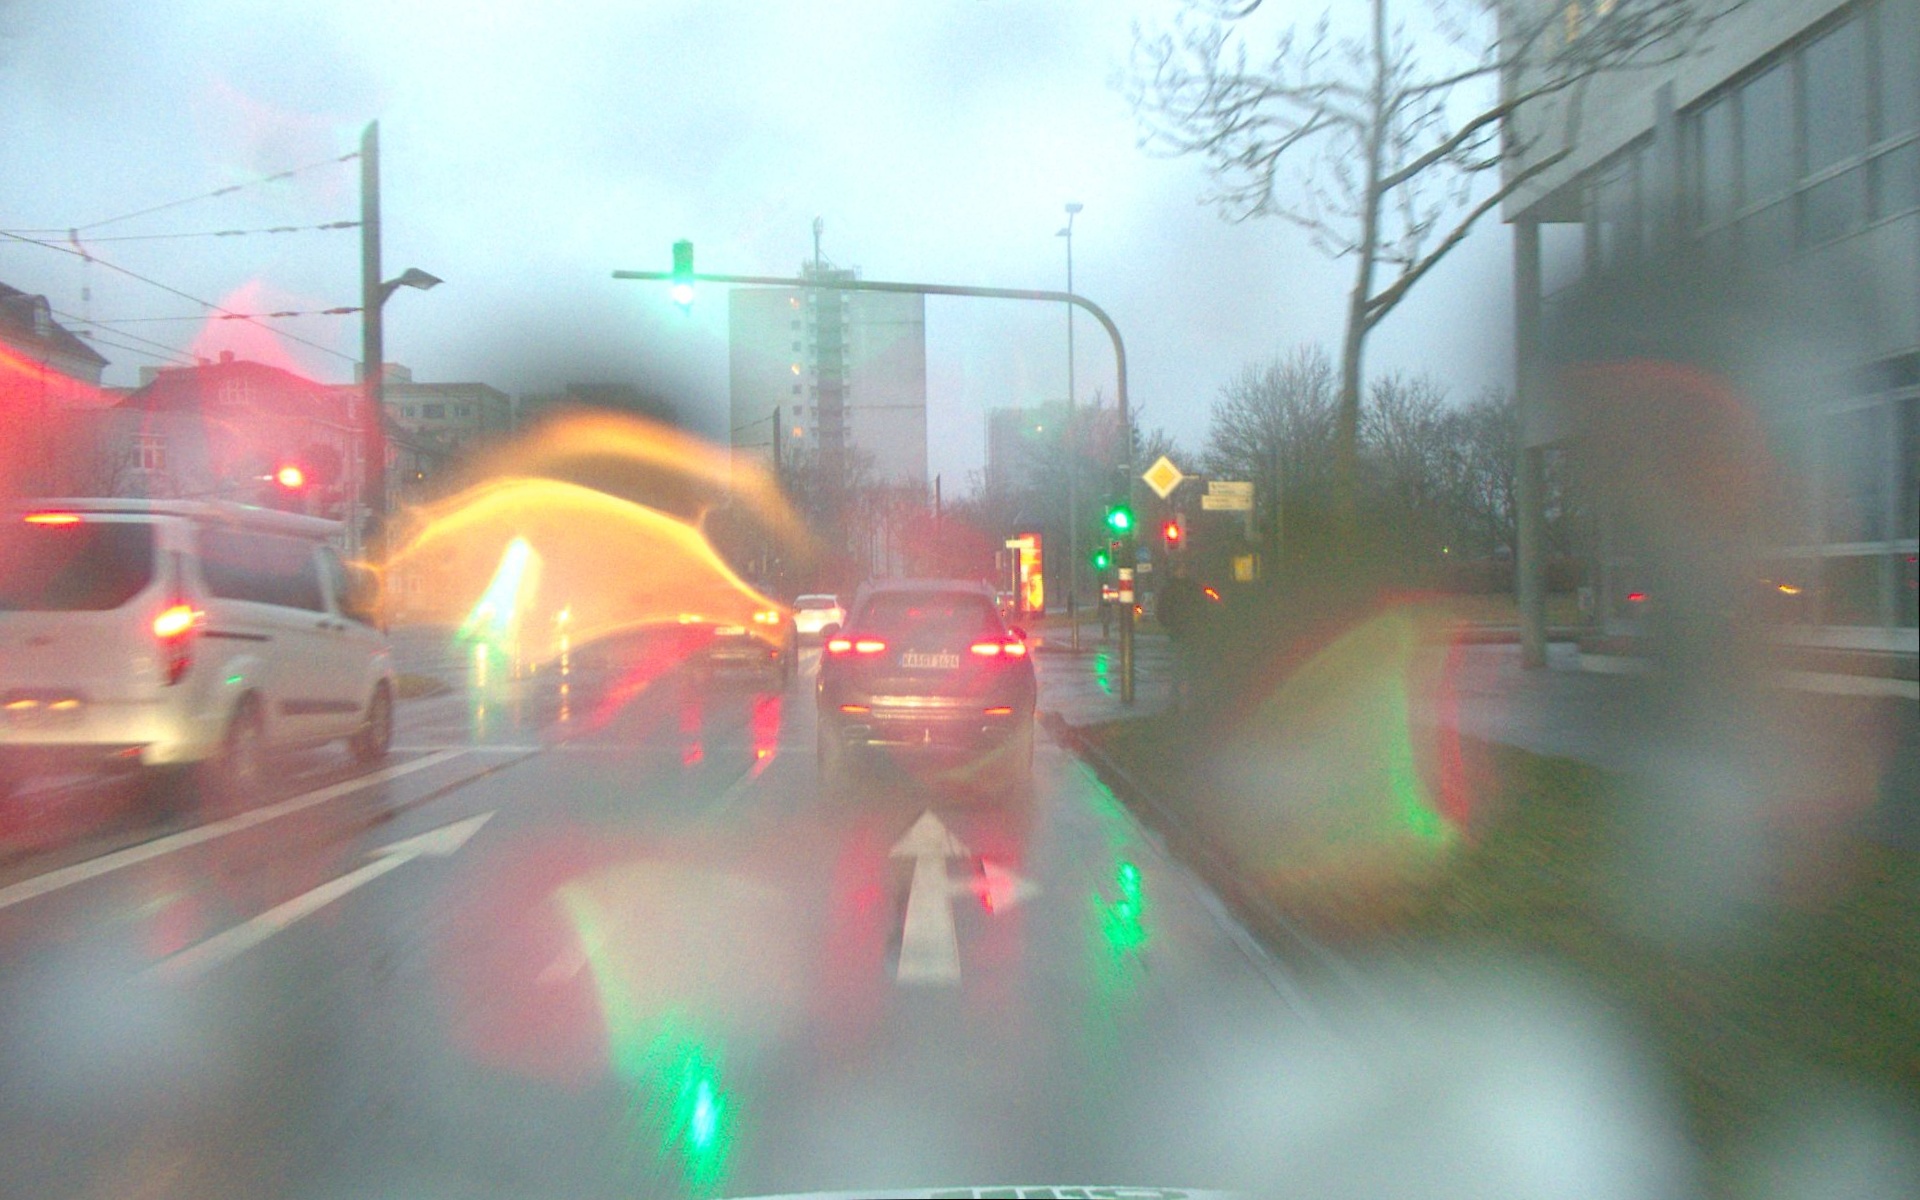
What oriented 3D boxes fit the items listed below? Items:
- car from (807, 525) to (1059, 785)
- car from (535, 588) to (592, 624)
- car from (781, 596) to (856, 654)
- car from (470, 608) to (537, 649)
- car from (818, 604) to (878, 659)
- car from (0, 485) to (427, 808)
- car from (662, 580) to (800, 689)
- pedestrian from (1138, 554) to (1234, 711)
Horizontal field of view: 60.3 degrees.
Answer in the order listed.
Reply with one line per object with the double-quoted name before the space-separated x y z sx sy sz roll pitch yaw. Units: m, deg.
"car" -0.298 0.458 14.911 1.954 2.010 4.065 0 -1 -3
"car" -17.851 0.310 74.588 1.555 1.556 4.932 0 -1 -2
"car" -4.209 0.760 49.789 1.953 1.671 4.021 0 -1 -1
"car" -18.770 1.182 68.148 1.768 1.635 3.997 0 -1 -3
"car" -4.335 1.218 64.491 1.952 2.049 4.000 0 -1 1
"car" -5.929 0.292 13.067 1.913 2.069 4.882 0 0 -1
"car" -3.922 0.588 28.934 1.953 1.742 4.322 0 -1 -2
"pedestrian" 2.737 0.383 19.976 0.780 1.780 0.861 -5 0 26
